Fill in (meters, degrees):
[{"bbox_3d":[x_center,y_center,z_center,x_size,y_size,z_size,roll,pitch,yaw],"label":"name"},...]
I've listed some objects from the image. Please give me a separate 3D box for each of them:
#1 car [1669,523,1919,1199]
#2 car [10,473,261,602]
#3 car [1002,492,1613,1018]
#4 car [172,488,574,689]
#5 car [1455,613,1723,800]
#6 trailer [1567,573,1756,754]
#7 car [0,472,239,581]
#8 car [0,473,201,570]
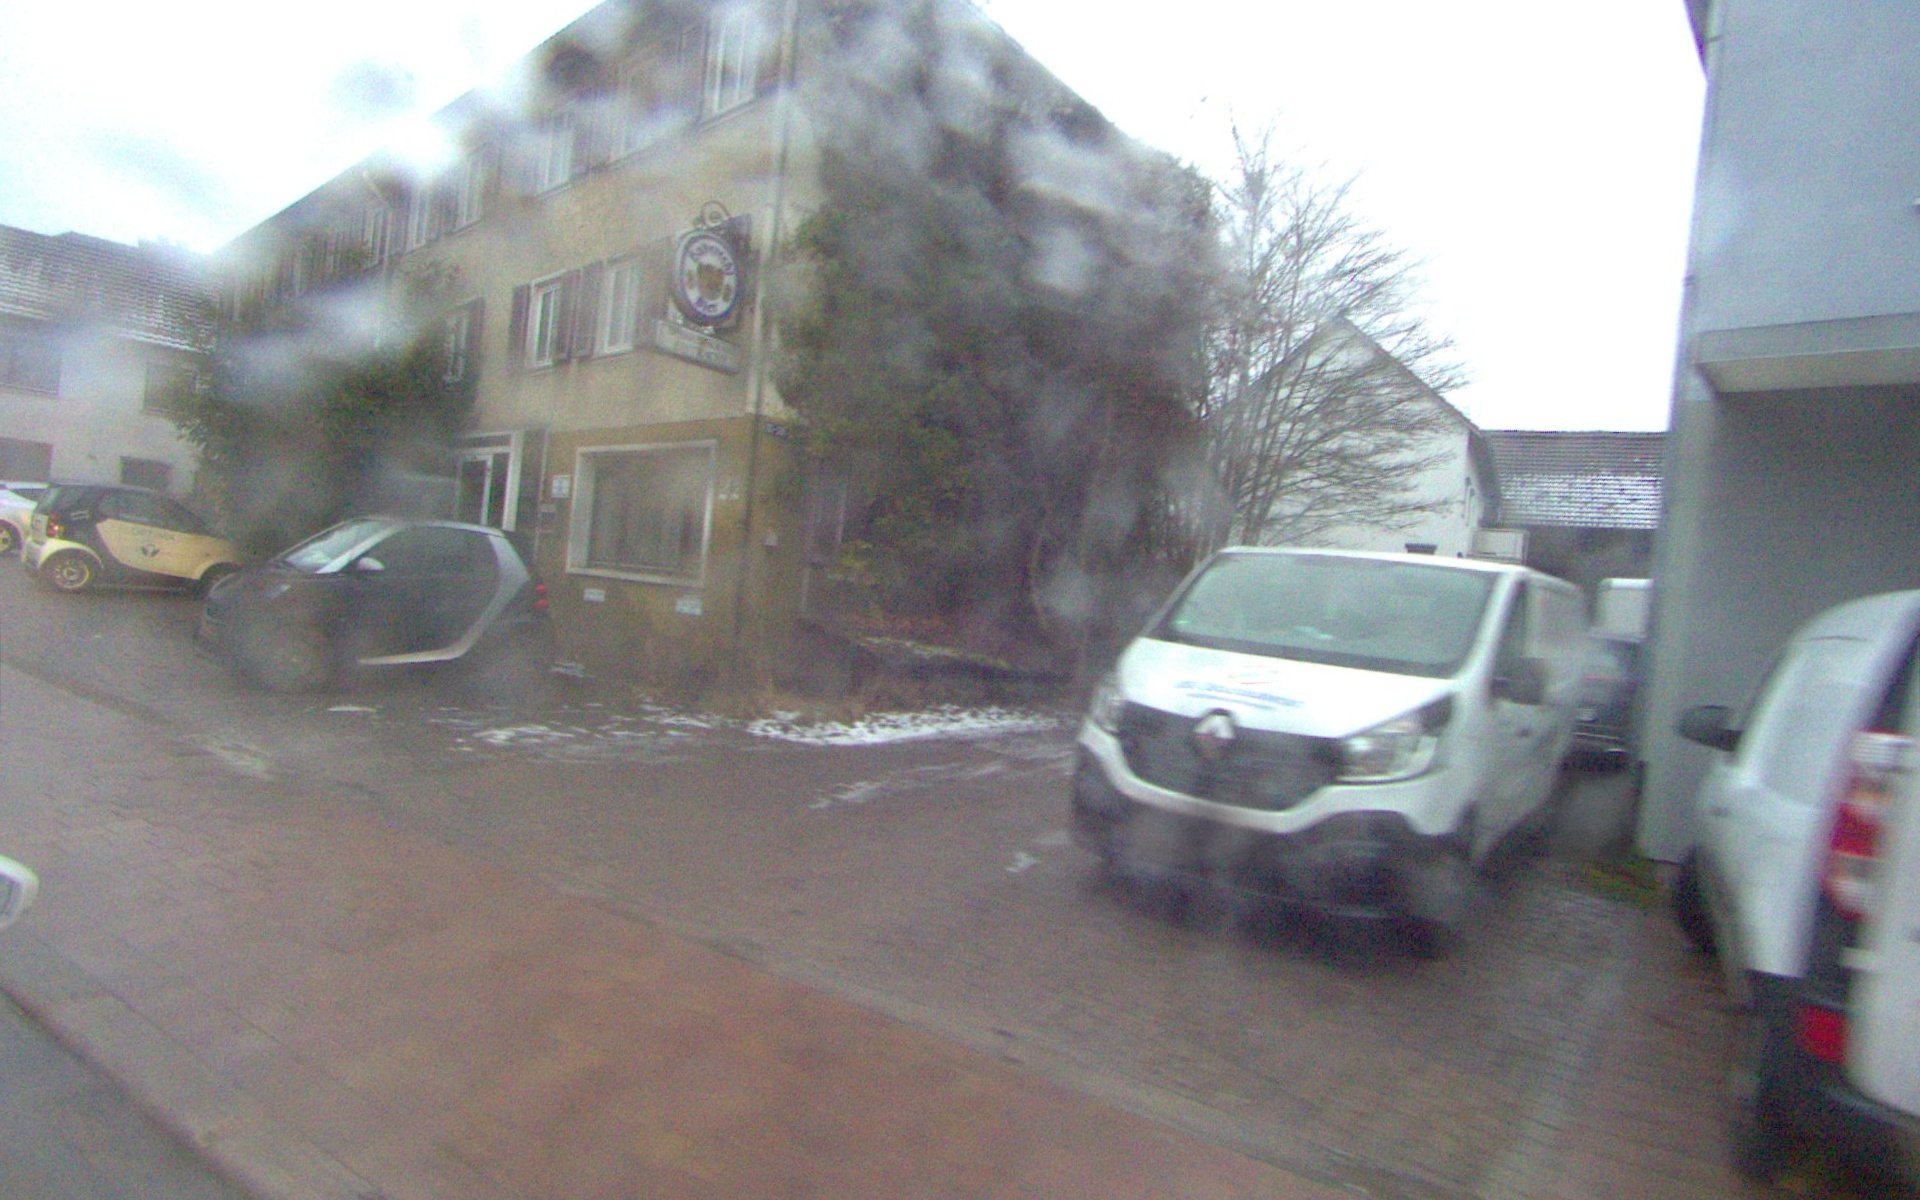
[{"bbox_3d":[3.871,0.910,3.647,1.834,1.867,4.041,7,2,34],"label":"car"},{"bbox_3d":[-12.258,-0.898,15.034,1.528,1.567,2.579,8,2,38],"label":"car"},{"bbox_3d":[2.574,0.644,6.304,1.908,1.914,4.974,8,2,38],"label":"car"},{"bbox_3d":[-5.196,-0.052,9.107,1.406,1.493,2.759,7,2,39],"label":"car"},{"bbox_3d":[7.461,1.104,11.769,1.855,1.644,3.975,7,3,42],"label":"car"},{"bbox_3d":[11.705,0.934,16.680,1.815,2.553,3.972,7,4,43],"label":"trailer"},{"bbox_3d":[-14.660,-1.254,17.552,1.528,1.493,3.058,7,2,41],"label":"car"},{"bbox_3d":[-17.287,-1.546,19.426,1.726,1.493,3.892,7,1,41],"label":"car"}]
